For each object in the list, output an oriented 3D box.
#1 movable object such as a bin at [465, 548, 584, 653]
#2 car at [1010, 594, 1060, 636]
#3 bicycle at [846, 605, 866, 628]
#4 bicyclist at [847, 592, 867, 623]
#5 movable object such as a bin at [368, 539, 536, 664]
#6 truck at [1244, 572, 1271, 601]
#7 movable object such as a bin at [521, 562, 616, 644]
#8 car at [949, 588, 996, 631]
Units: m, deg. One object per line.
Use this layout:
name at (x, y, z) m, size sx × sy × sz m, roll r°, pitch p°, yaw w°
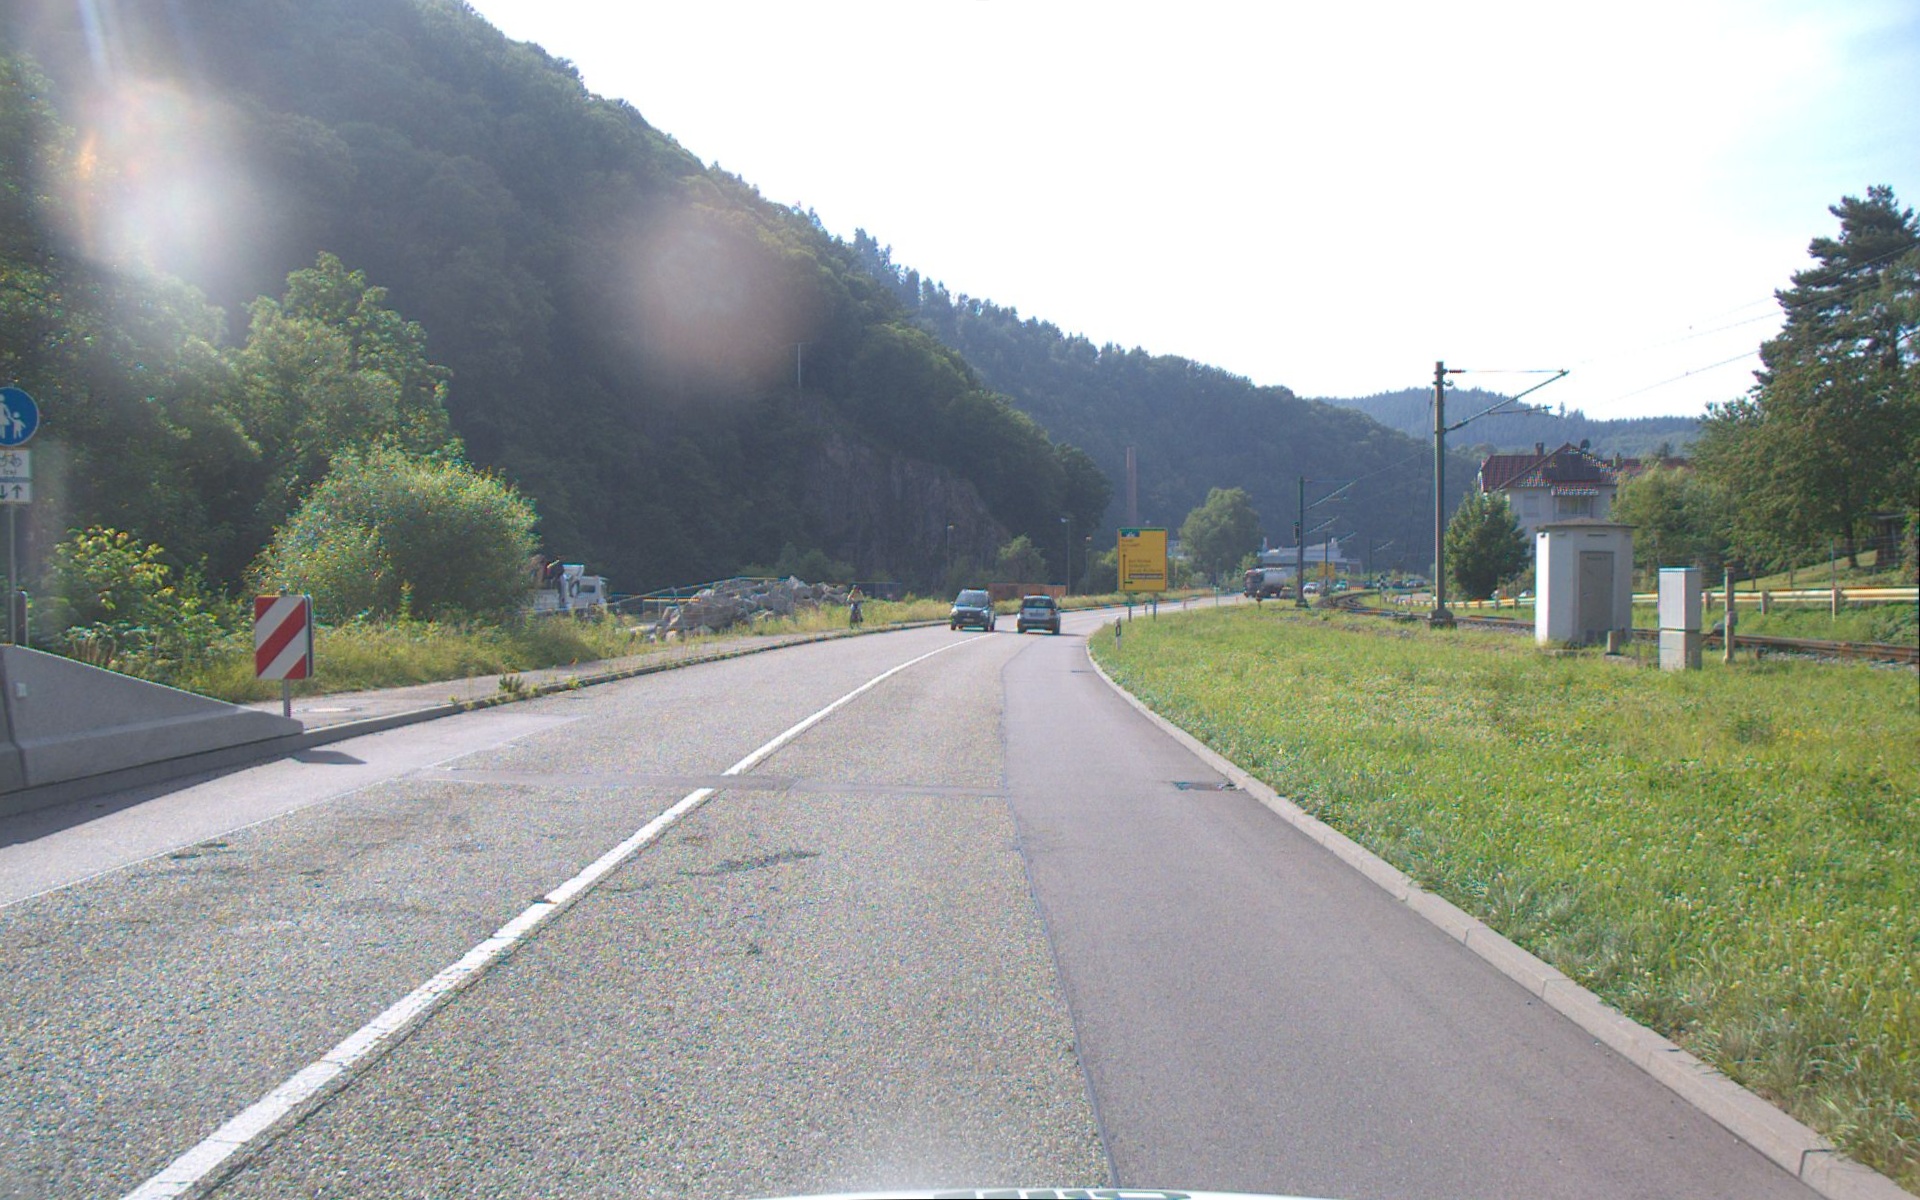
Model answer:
movable object such as a bin at (-17.736, 0.032, 67.827) m, size 2.665 × 4.016 × 7.231 m, roll -2°, pitch 0°, yaw 2°
car at (3.354, 0.639, 73.202) m, size 1.951 × 1.753 × 3.992 m, roll -2°, pitch 0°, yaw 5°
bicycle at (-4.179, 0.656, 66.658) m, size 0.528 × 0.897 × 2.253 m, roll 2°, pitch 0°, yaw 3°
bicyclist at (-4.152, 0.304, 66.642) m, size 0.669 × 1.246 × 0.858 m, roll 1°, pitch 0°, yaw 2°
movable object such as a bin at (-17.939, 0.065, 59.210) m, size 2.643 × 4.016 × 9.991 m, roll -2°, pitch 0°, yaw 1°
truck at (41.910, -1.928, 233.021) m, size 2.692 × 3.902 × 8.202 m, roll 2°, pitch 1°, yaw 17°
movable object such as a bin at (-20.378, 0.150, 86.532) m, size 2.838 × 4.016 × 7.810 m, roll -2°, pitch 0°, yaw 2°
car at (0.580, 0.414, 75.069) m, size 1.812 × 1.816 × 4.686 m, roll 2°, pitch 0°, yaw 4°
